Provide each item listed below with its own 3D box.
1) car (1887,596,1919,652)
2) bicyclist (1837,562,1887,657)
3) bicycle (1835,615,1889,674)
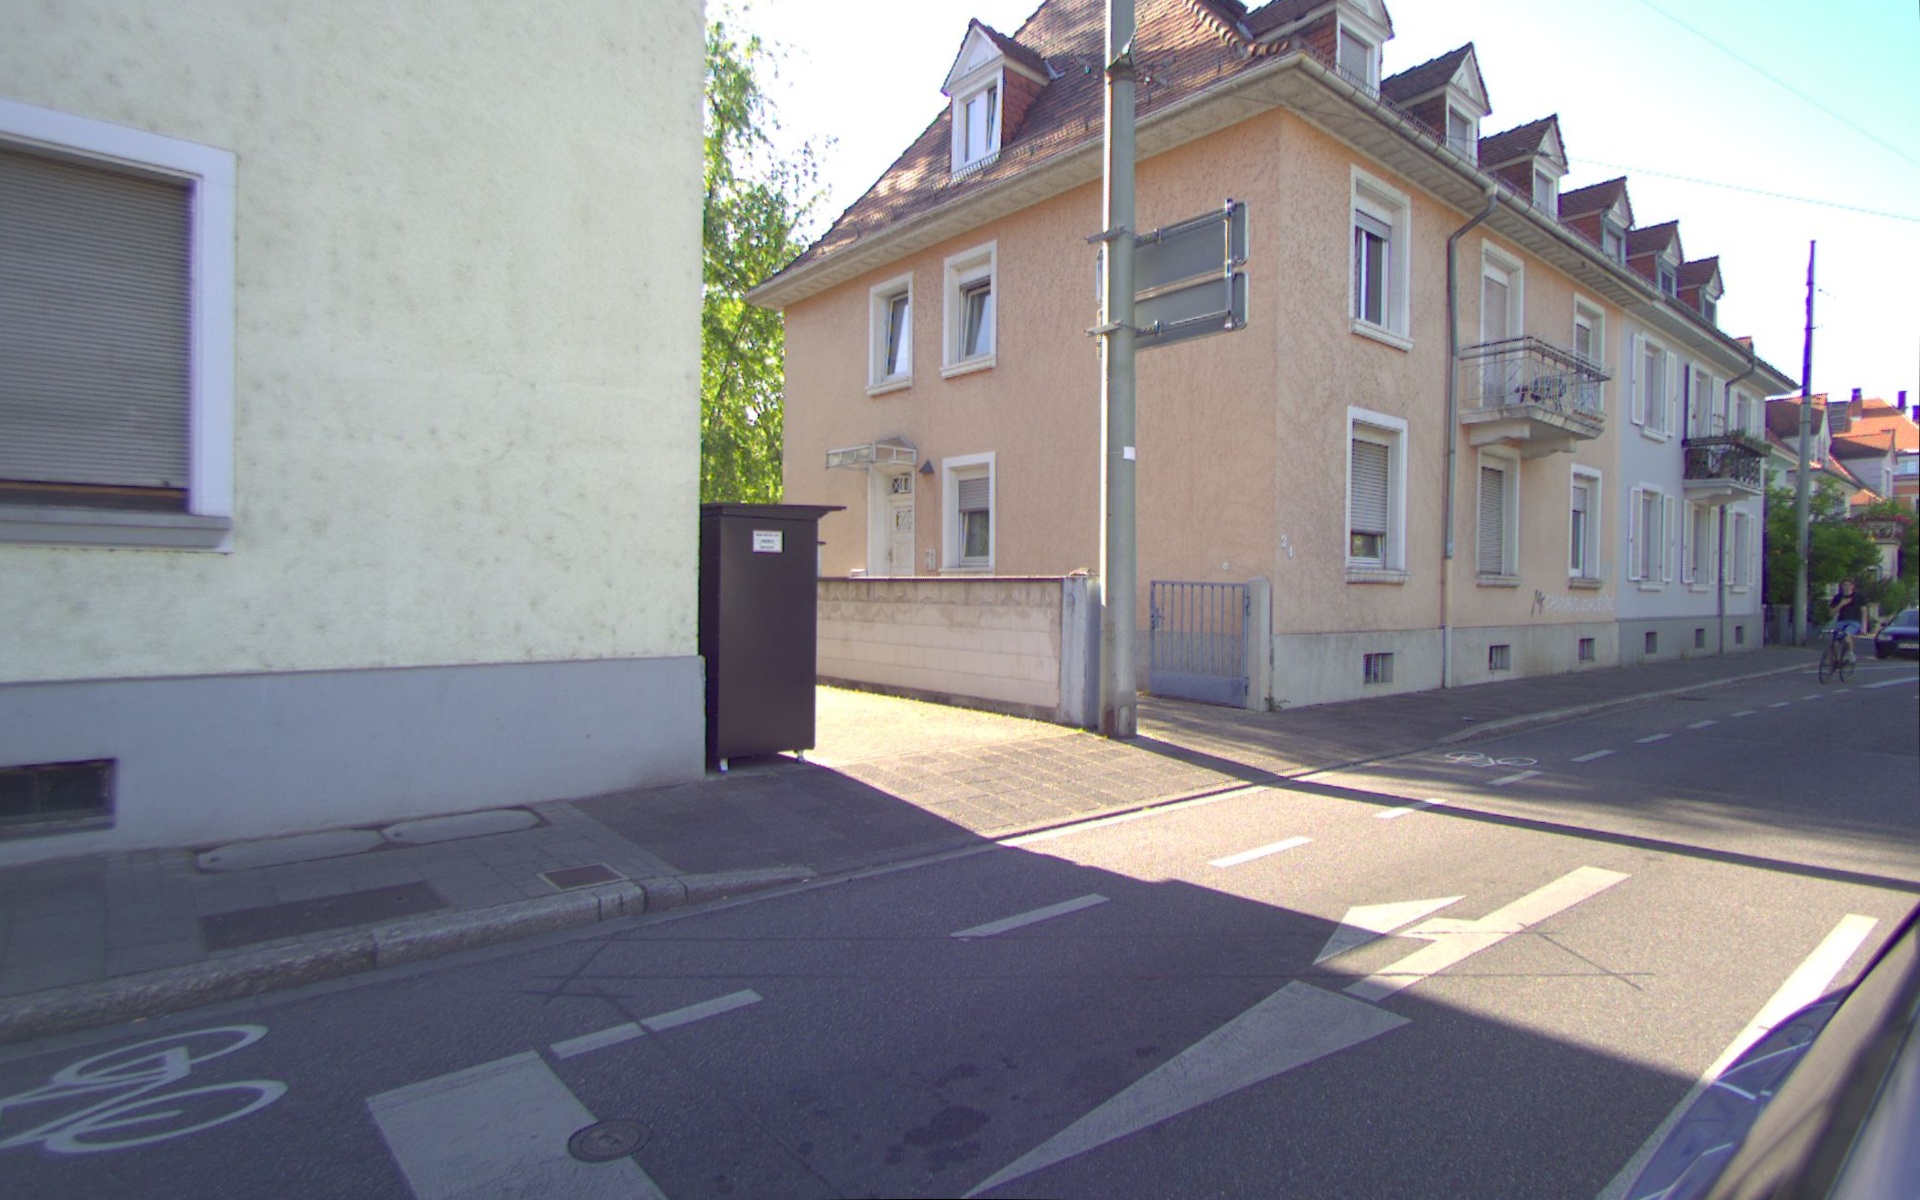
[{"bbox_3d":[26.709,0.629,27.400,4.347,1.425,1.866,0,1,-41],"label":"car"},{"bbox_3d":[17.040,0.164,19.122,1.065,1.752,0.561,0,0,-40],"label":"bicyclist"},{"bbox_3d":[17.033,0.826,19.106,1.727,1.029,0.533,0,1,-41],"label":"bicycle"}]
